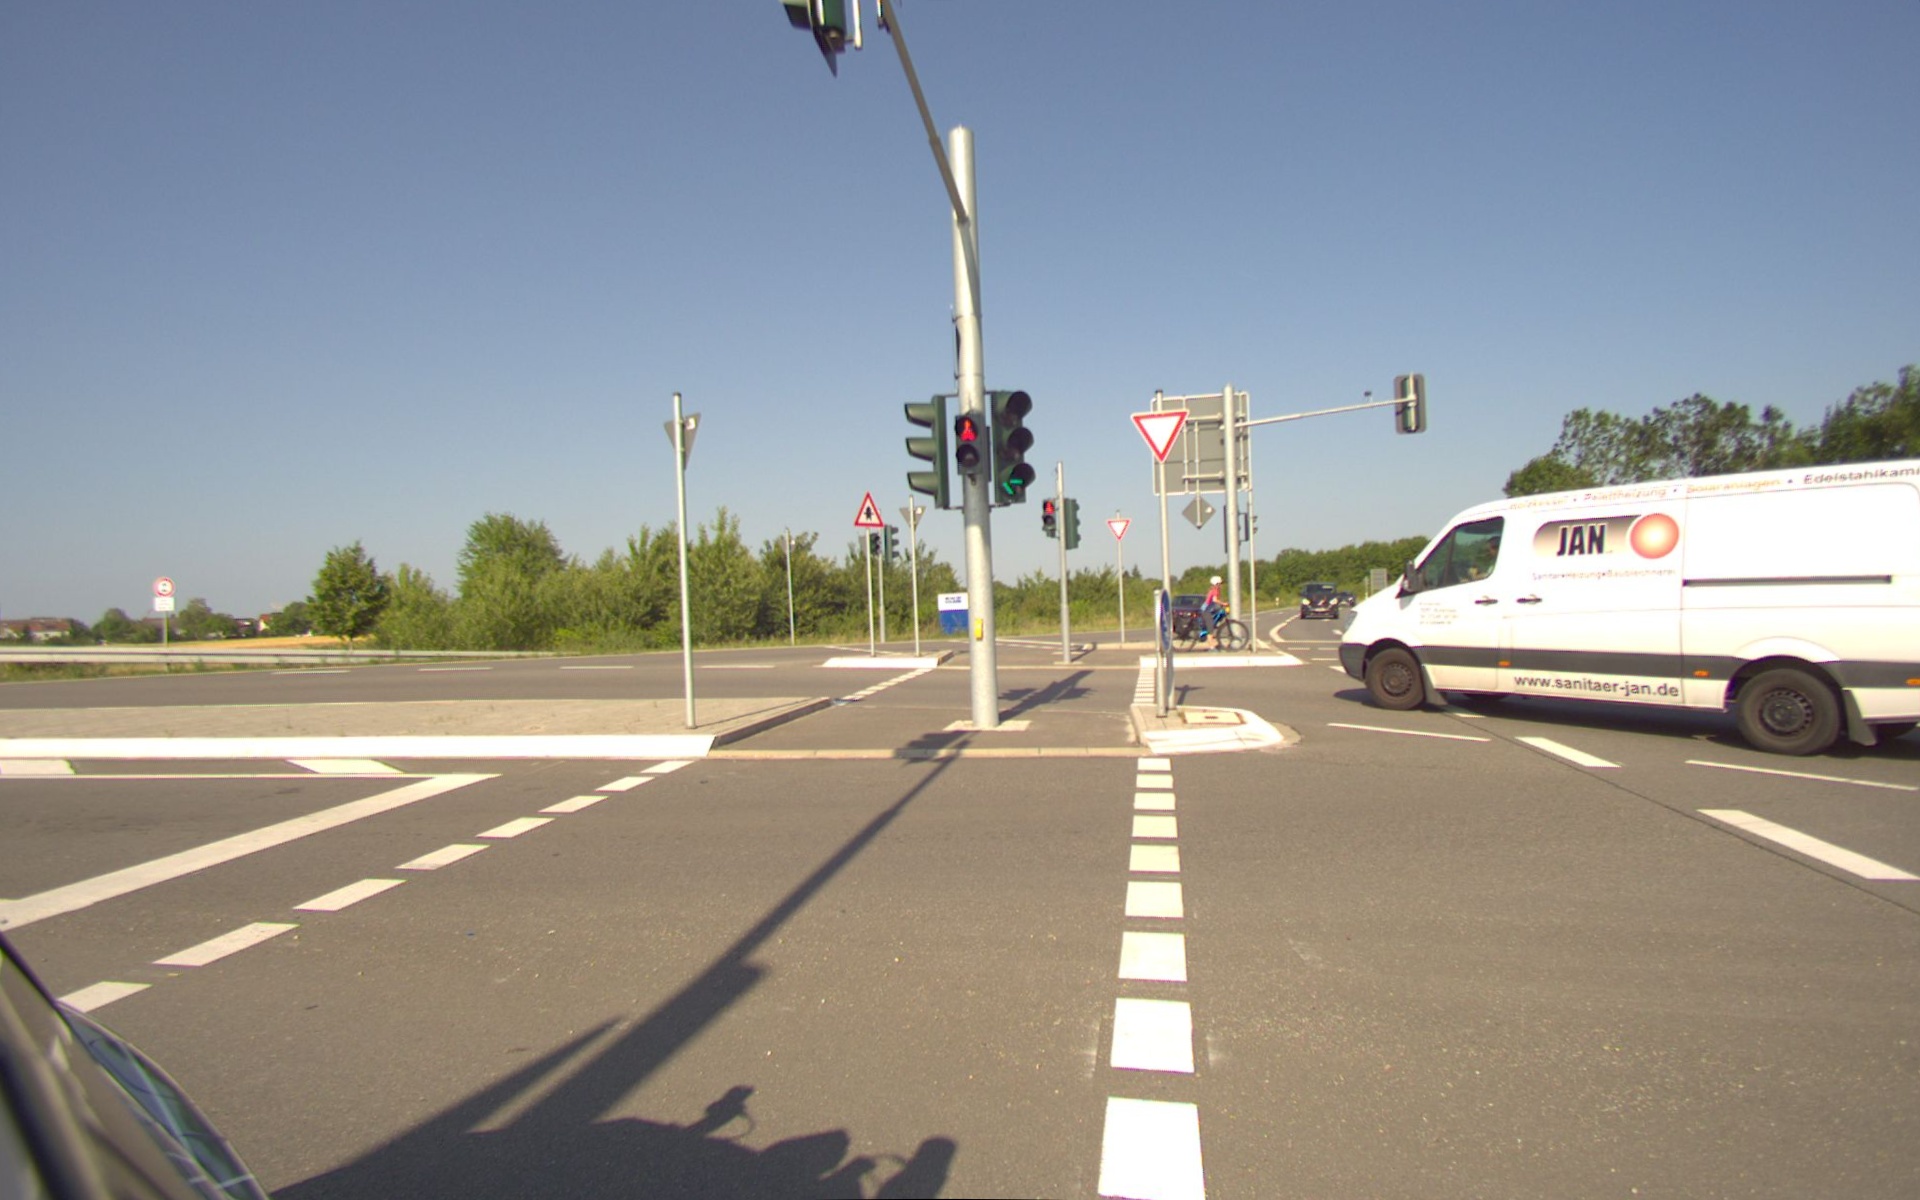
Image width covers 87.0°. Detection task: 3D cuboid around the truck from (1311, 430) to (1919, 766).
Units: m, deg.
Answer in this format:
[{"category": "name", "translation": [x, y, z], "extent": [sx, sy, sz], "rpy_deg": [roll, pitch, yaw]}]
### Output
[{"category": "truck", "translation": [6.630, -0.024, 9.950], "extent": [2.036, 2.423, 6.218], "rpy_deg": [-1, 0, -29]}]

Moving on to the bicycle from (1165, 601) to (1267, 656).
[{"category": "bicycle", "translation": [5.663, 0.623, 22.544], "extent": [2.128, 1.158, 1.070], "rpy_deg": [-1, 1, 12]}]

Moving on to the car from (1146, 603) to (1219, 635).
[{"category": "car", "translation": [8.535, 0.705, 38.588], "extent": [1.732, 1.120, 3.962], "rpy_deg": [-1, 0, 28]}]

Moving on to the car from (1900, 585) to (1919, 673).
[{"category": "car", "translation": [15.704, 0.457, 14.027], "extent": [1.615, 1.387, 4.413], "rpy_deg": [0, 0, 7]}]

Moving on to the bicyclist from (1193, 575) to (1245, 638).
[{"category": "bicyclist", "translation": [5.765, 0.147, 22.570], "extent": [1.063, 1.362, 0.855], "rpy_deg": [-1, 1, 12]}]

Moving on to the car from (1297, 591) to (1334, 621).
[{"category": "car", "translation": [19.455, 0.336, 55.470], "extent": [1.848, 1.554, 3.975], "rpy_deg": [-1, 0, 19]}]
